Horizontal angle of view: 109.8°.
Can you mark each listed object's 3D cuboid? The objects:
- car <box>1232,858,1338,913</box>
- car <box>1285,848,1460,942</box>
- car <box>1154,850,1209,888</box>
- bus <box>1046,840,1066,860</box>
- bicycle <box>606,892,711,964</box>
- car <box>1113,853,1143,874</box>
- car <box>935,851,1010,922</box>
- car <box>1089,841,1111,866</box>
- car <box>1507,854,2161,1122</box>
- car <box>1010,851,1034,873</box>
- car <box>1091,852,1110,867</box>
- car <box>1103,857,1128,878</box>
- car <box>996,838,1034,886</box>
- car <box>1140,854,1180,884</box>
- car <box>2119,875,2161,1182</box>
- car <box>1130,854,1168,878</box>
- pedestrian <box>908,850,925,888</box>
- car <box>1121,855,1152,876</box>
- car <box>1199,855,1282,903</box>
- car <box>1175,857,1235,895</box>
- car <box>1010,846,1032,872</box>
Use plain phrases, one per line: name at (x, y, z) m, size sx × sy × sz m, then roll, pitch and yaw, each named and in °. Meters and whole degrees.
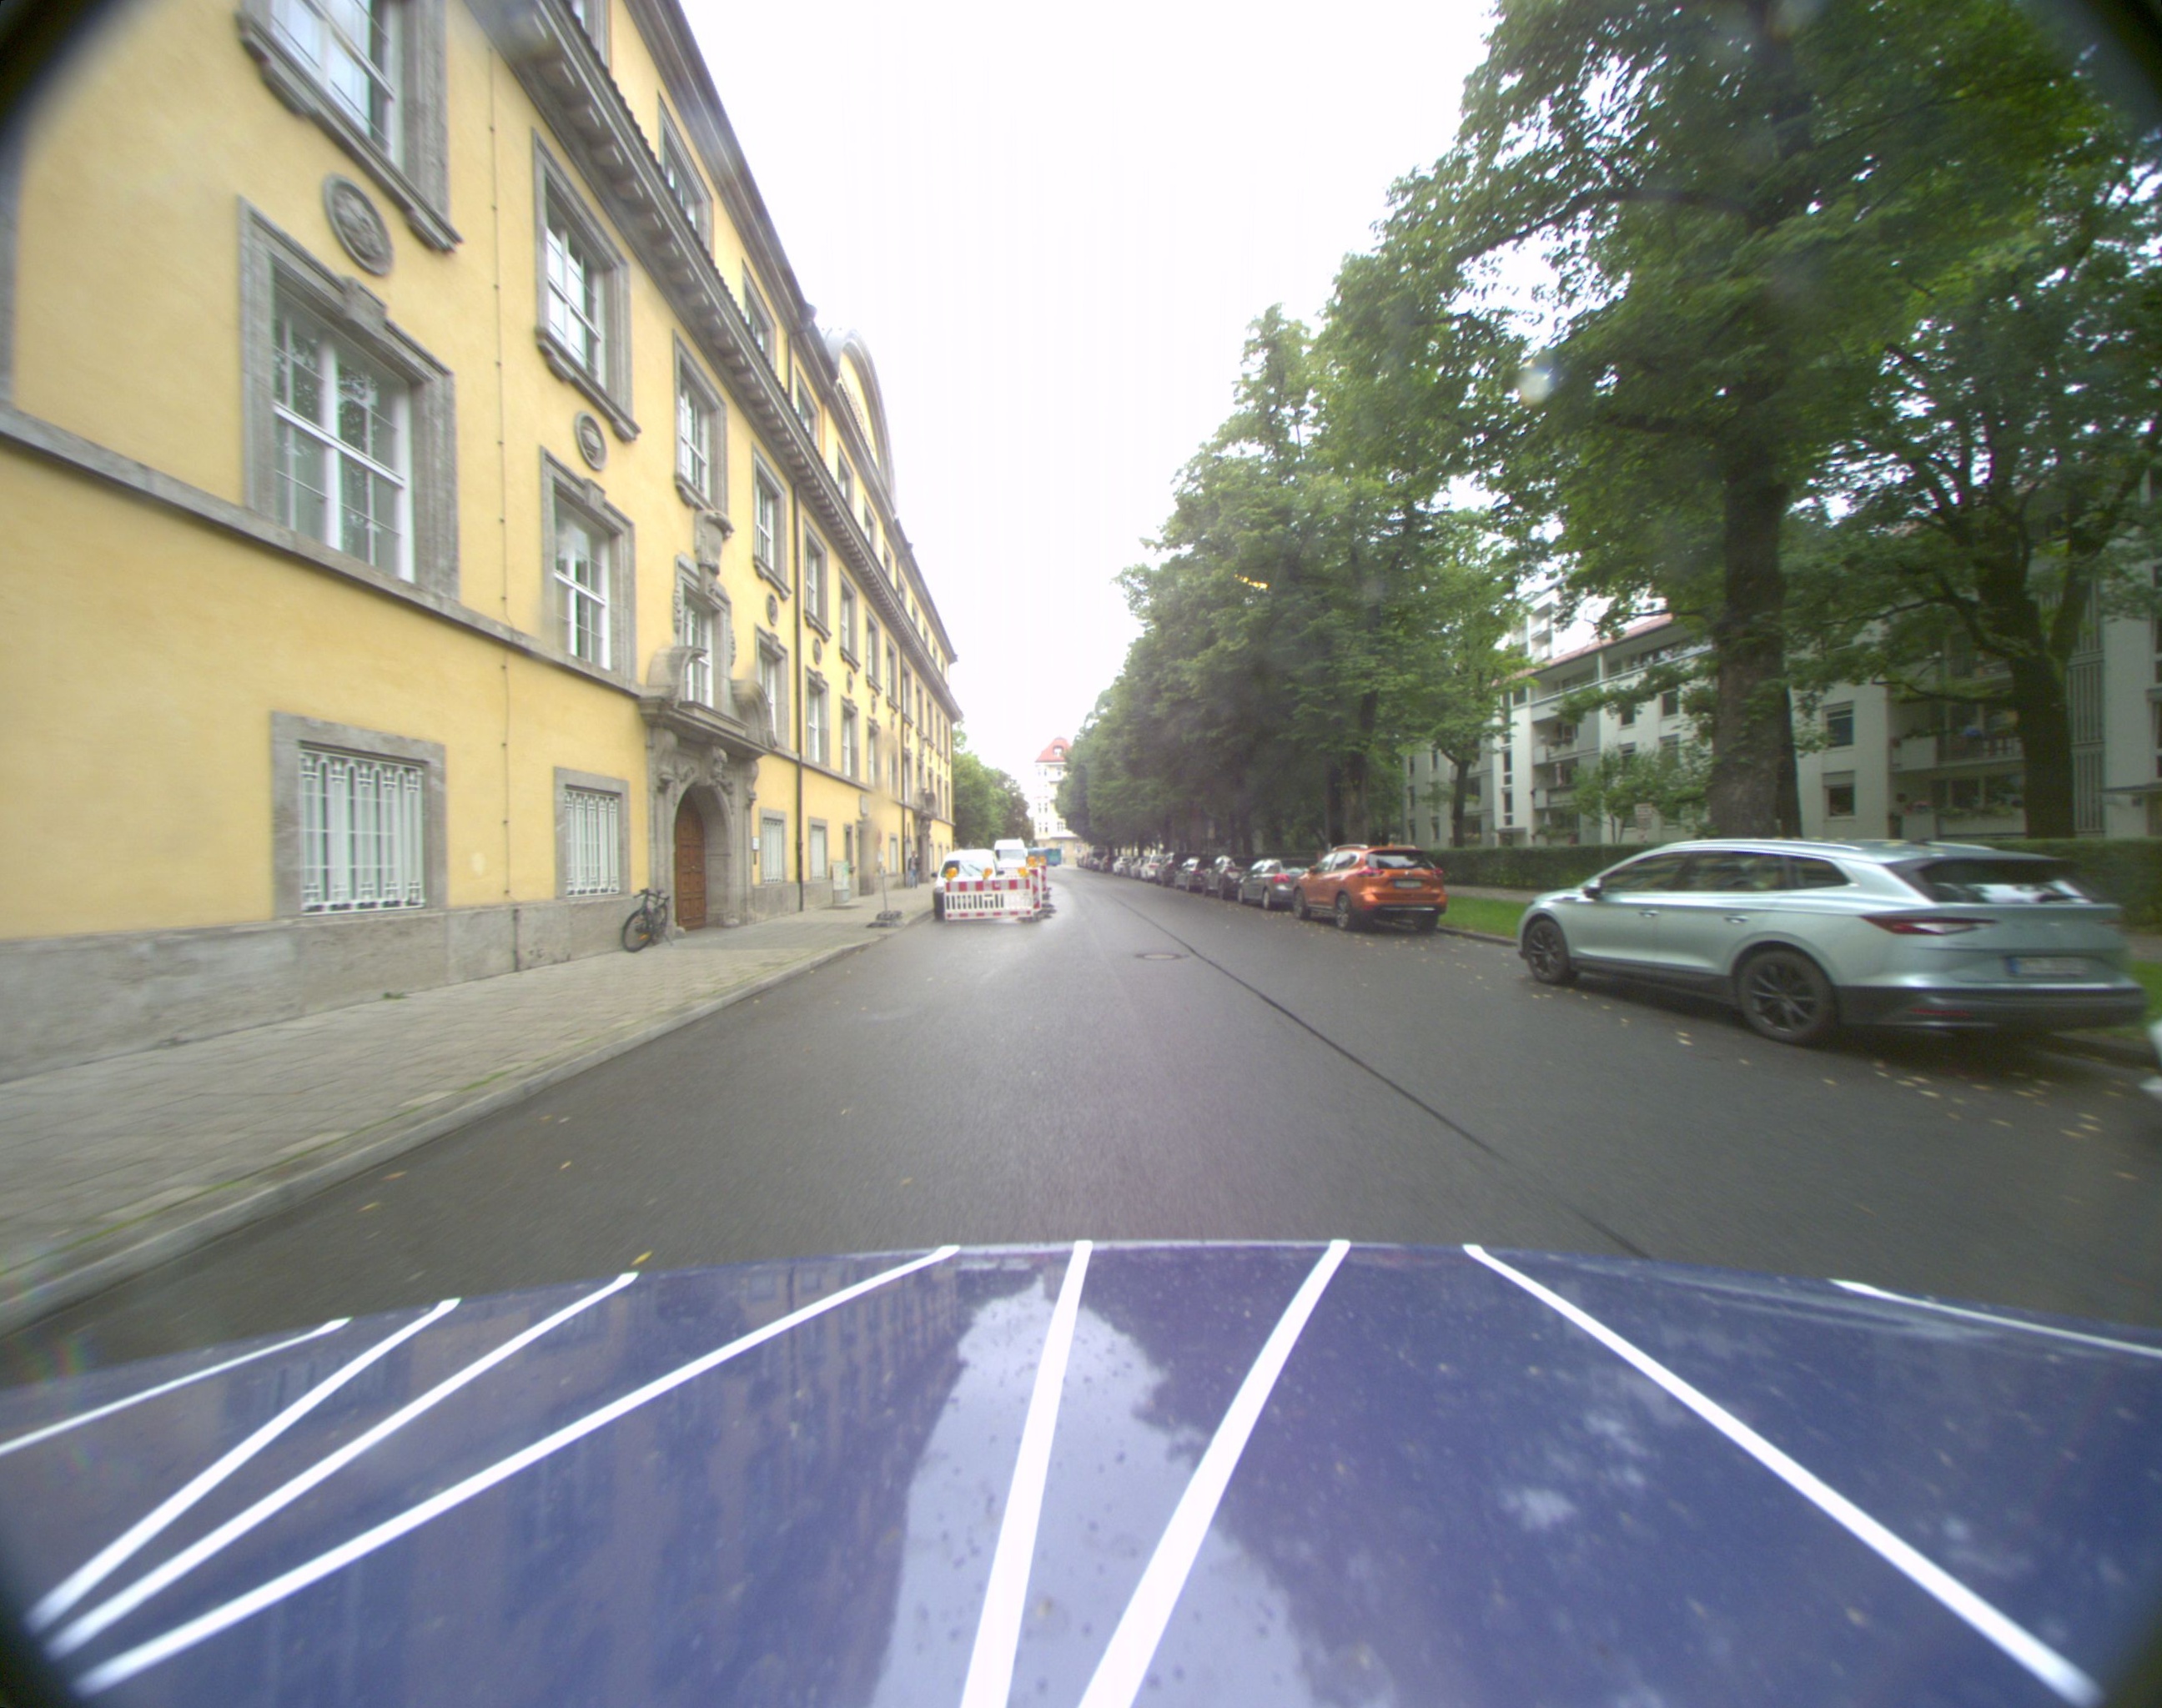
car at (5.823, 0.841, 22.213) m, size 1.732 × 1.414 × 4.250 m, roll -1°, pitch 0°, yaw -3°
car at (5.986, 0.741, 16.307) m, size 1.877 × 1.718 × 4.640 m, roll -1°, pitch 0°, yaw -1°
car at (4.991, 0.688, 38.393) m, size 1.999 × 1.786 × 4.919 m, roll 0°, pitch 0°, yaw -2°
bus at (-4.451, -0.731, 132.948) m, size 2.867 × 3.221 × 18.415 m, roll -1°, pitch 1°, yaw -4°
bicycle at (-7.105, 1.206, 12.897) m, size 0.682 × 1.000 × 2.056 m, roll -1°, pitch 1°, yaw -3°
car at (3.728, 0.725, 61.233) m, size 1.789 × 1.588 × 4.582 m, roll -1°, pitch 1°, yaw -5°
car at (-2.972, 0.810, 21.542) m, size 1.744 × 1.740 × 4.353 m, roll -1°, pitch 1°, yaw -4°
car at (2.283, -0.120, 93.110) m, size 1.951 × 2.838 × 6.232 m, roll -1°, pitch 1°, yaw -5°
car at (6.137, 0.816, 6.934) m, size 1.820 × 1.592 × 4.512 m, roll -1°, pitch 0°, yaw -3°
car at (-5.645, 0.731, 71.916) m, size 2.019 × 1.895 × 5.160 m, roll -2°, pitch 0°, yaw -6°
car at (2.021, 0.582, 79.588) m, size 1.794 × 1.429 × 4.551 m, roll -1°, pitch 0°, yaw 0°
car at (3.218, 1.249, 71.068) m, size 1.789 × 1.866 × 4.546 m, roll 1°, pitch 0°, yaw -5°
car at (-3.999, 0.434, 46.174) m, size 2.060 × 2.657 × 7.610 m, roll -1°, pitch 1°, yaw -5°
car at (4.654, 0.826, 45.242) m, size 1.770 × 1.612 × 4.521 m, roll 2°, pitch 0°, yaw -1°
car at (6.139, 0.855, 1.781) m, size 1.582 × 1.488 × 4.198 m, roll -1°, pitch 0°, yaw -3°
car at (4.512, 0.790, 50.855) m, size 1.814 × 1.461 × 4.995 m, roll -1°, pitch 1°, yaw -3°
pedestrian at (-7.915, 0.705, 36.537) m, size 0.702 × 1.794 × 0.582 m, roll 1°, pitch 1°, yaw -4°
car at (4.130, 0.806, 56.797) m, size 1.677 × 1.461 × 4.102 m, roll -1°, pitch 1°, yaw -5°
car at (5.586, 0.842, 27.248) m, size 1.791 × 1.565 × 4.484 m, roll 1°, pitch 0°, yaw -3°
car at (5.275, 0.907, 32.916) m, size 1.723 × 1.442 × 4.694 m, roll -1°, pitch 0°, yaw -2°
car at (-6.245, 0.455, 79.030) m, size 2.101 × 2.473 × 5.736 m, roll -1°, pitch 1°, yaw -4°
